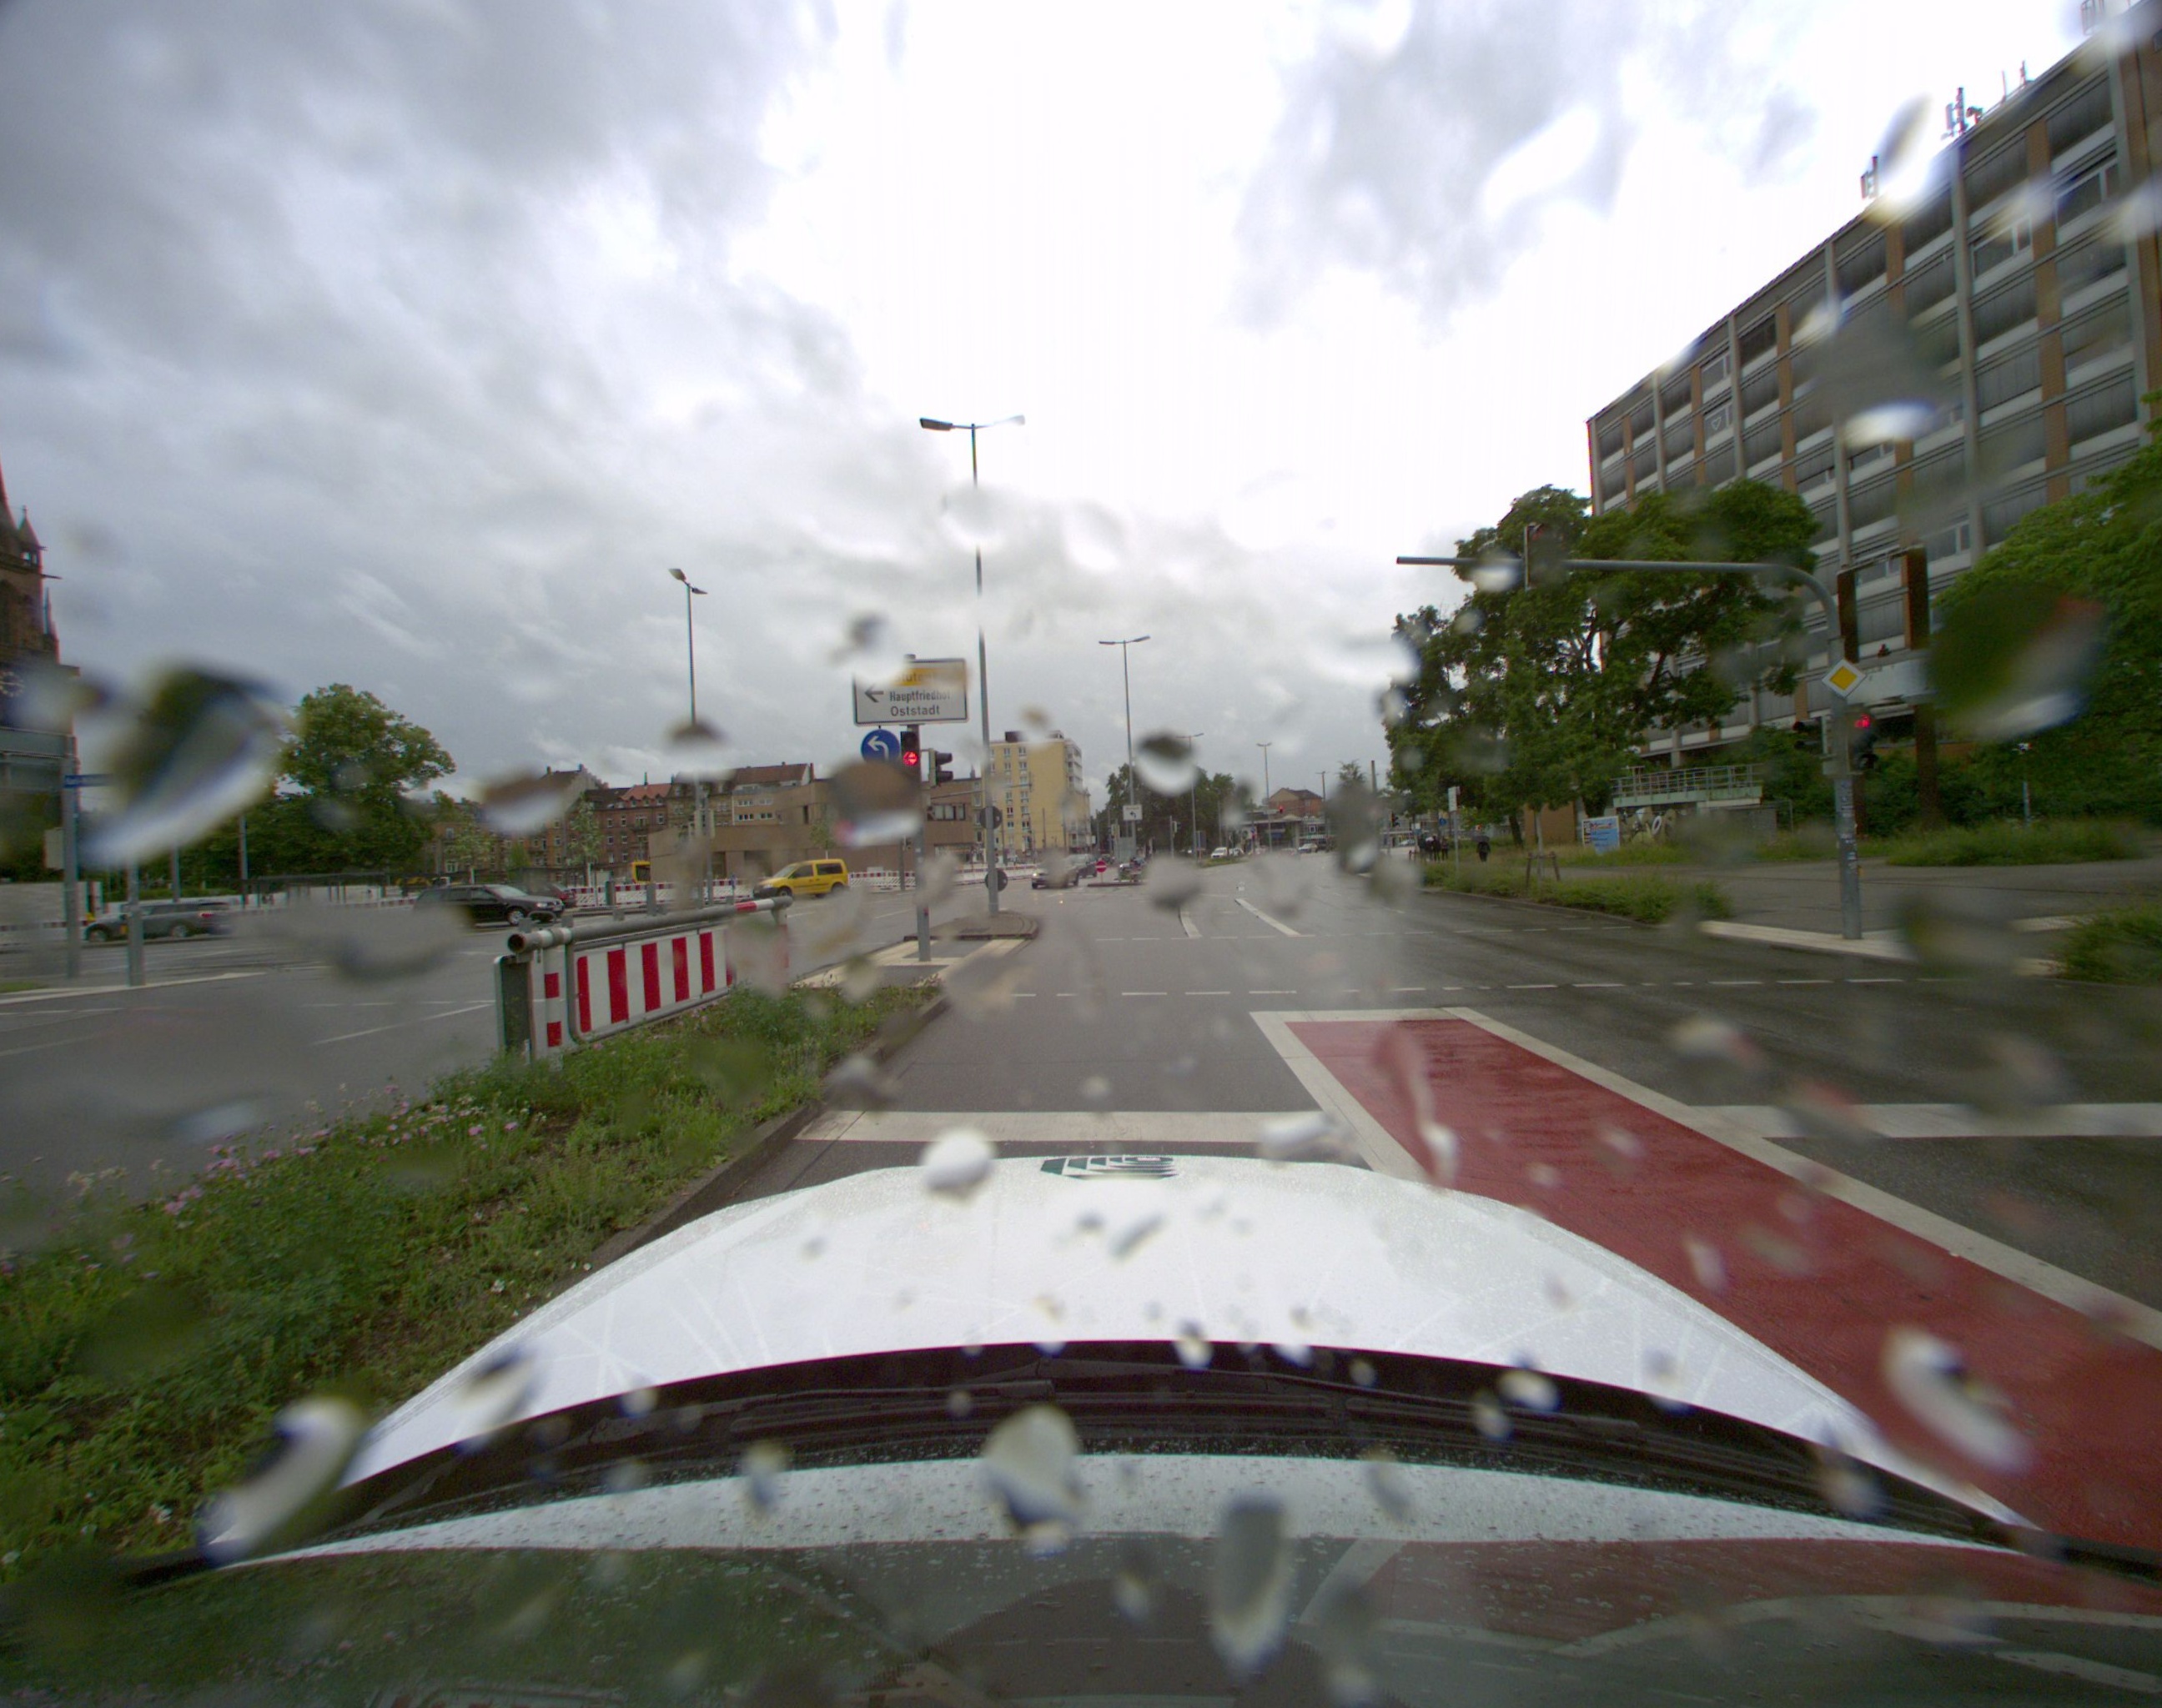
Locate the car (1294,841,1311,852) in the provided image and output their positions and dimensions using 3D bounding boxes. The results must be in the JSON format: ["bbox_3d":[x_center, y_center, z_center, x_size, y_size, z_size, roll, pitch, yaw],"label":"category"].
[{"bbox_3d":[39.012,-1.336,143.510,1.773,1.643,4.186,-3,0,30],"label":"car"}]

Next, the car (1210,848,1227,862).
[{"bbox_3d":[19.228,0.163,113.731,1.776,1.858,4.178,-3,0,17],"label":"car"}]

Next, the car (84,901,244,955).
[{"bbox_3d":[-34.716,2.769,30.936,3.803,1.706,1.707,-3,0,-6],"label":"car"}]

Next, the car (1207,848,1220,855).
[{"bbox_3d":[30.952,-0.595,190.342,1.773,1.643,4.184,-3,0,25],"label":"car"}]

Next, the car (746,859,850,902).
[{"bbox_3d":[-12.998,1.193,37.587,1.689,1.706,4.178,-3,0,43],"label":"car"}]

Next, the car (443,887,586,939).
[{"bbox_3d":[-23.032,2.354,33.313,4.466,1.706,1.698,-3,0,-23],"label":"car"}]

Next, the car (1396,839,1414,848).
[{"bbox_3d":[70.348,-2.255,176.877,4.182,1.643,1.774,-3,0,-41],"label":"car"}]

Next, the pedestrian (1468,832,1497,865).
[{"bbox_3d":[19.695,-0.267,40.000,1.015,1.588,0.939,-3,0,12],"label":"pedestrian"}]

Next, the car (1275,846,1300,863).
[{"bbox_3d":[21.959,0.086,86.486,1.774,1.643,4.183,-3,0,23],"label":"car"}]

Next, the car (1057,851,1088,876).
[{"bbox_3d":[-0.545,0.634,58.712,1.764,1.678,4.774,-2,0,4],"label":"car"}]

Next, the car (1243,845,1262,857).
[{"bbox_3d":[24.679,-0.439,117.300,1.774,1.643,4.069,-3,0,23],"label":"car"}]

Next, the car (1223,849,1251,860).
[{"bbox_3d":[26.008,0.056,136.039,4.407,1.643,1.780,-3,0,-28],"label":"car"}]

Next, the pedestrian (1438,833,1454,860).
[{"bbox_3d":[22.764,-0.472,50.787,0.698,1.588,0.939,-3,0,12],"label":"pedestrian"}]

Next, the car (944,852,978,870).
[{"bbox_3d":[-21.081,1.246,142.838,5.326,2.887,2.342,-3,0,4],"label":"car"}]

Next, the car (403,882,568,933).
[{"bbox_3d":[-19.974,1.761,27.441,4.185,1.402,1.615,-3,0,-5],"label":"car"}]

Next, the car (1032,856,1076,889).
[{"bbox_3d":[-1.308,0.873,41.142,1.686,1.415,4.189,-3,1,4],"label":"car"}]

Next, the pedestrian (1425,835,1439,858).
[{"bbox_3d":[24.605,-0.512,57.165,0.698,1.588,0.940,-3,0,14],"label":"pedestrian"}]

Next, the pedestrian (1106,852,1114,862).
[{"bbox_3d":[5.130,0.544,144.019,1.089,1.813,1.117,-3,0,-2],"label":"pedestrian"}]

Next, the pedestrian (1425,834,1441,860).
[{"bbox_3d":[21.939,-0.427,50.778,0.698,1.588,0.939,-3,0,12],"label":"pedestrian"}]

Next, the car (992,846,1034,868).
[{"bbox_3d":[-11.791,0.468,141.985,6.711,3.380,2.813,-3,0,4],"label":"car"}]

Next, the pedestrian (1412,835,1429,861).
[{"bbox_3d":[21.424,-0.400,51.392,0.749,1.588,0.939,-3,0,12],"label":"pedestrian"}]

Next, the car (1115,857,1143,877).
[{"bbox_3d":[3.718,0.990,62.556,1.762,1.376,4.129,-2,0,7],"label":"car"}]
